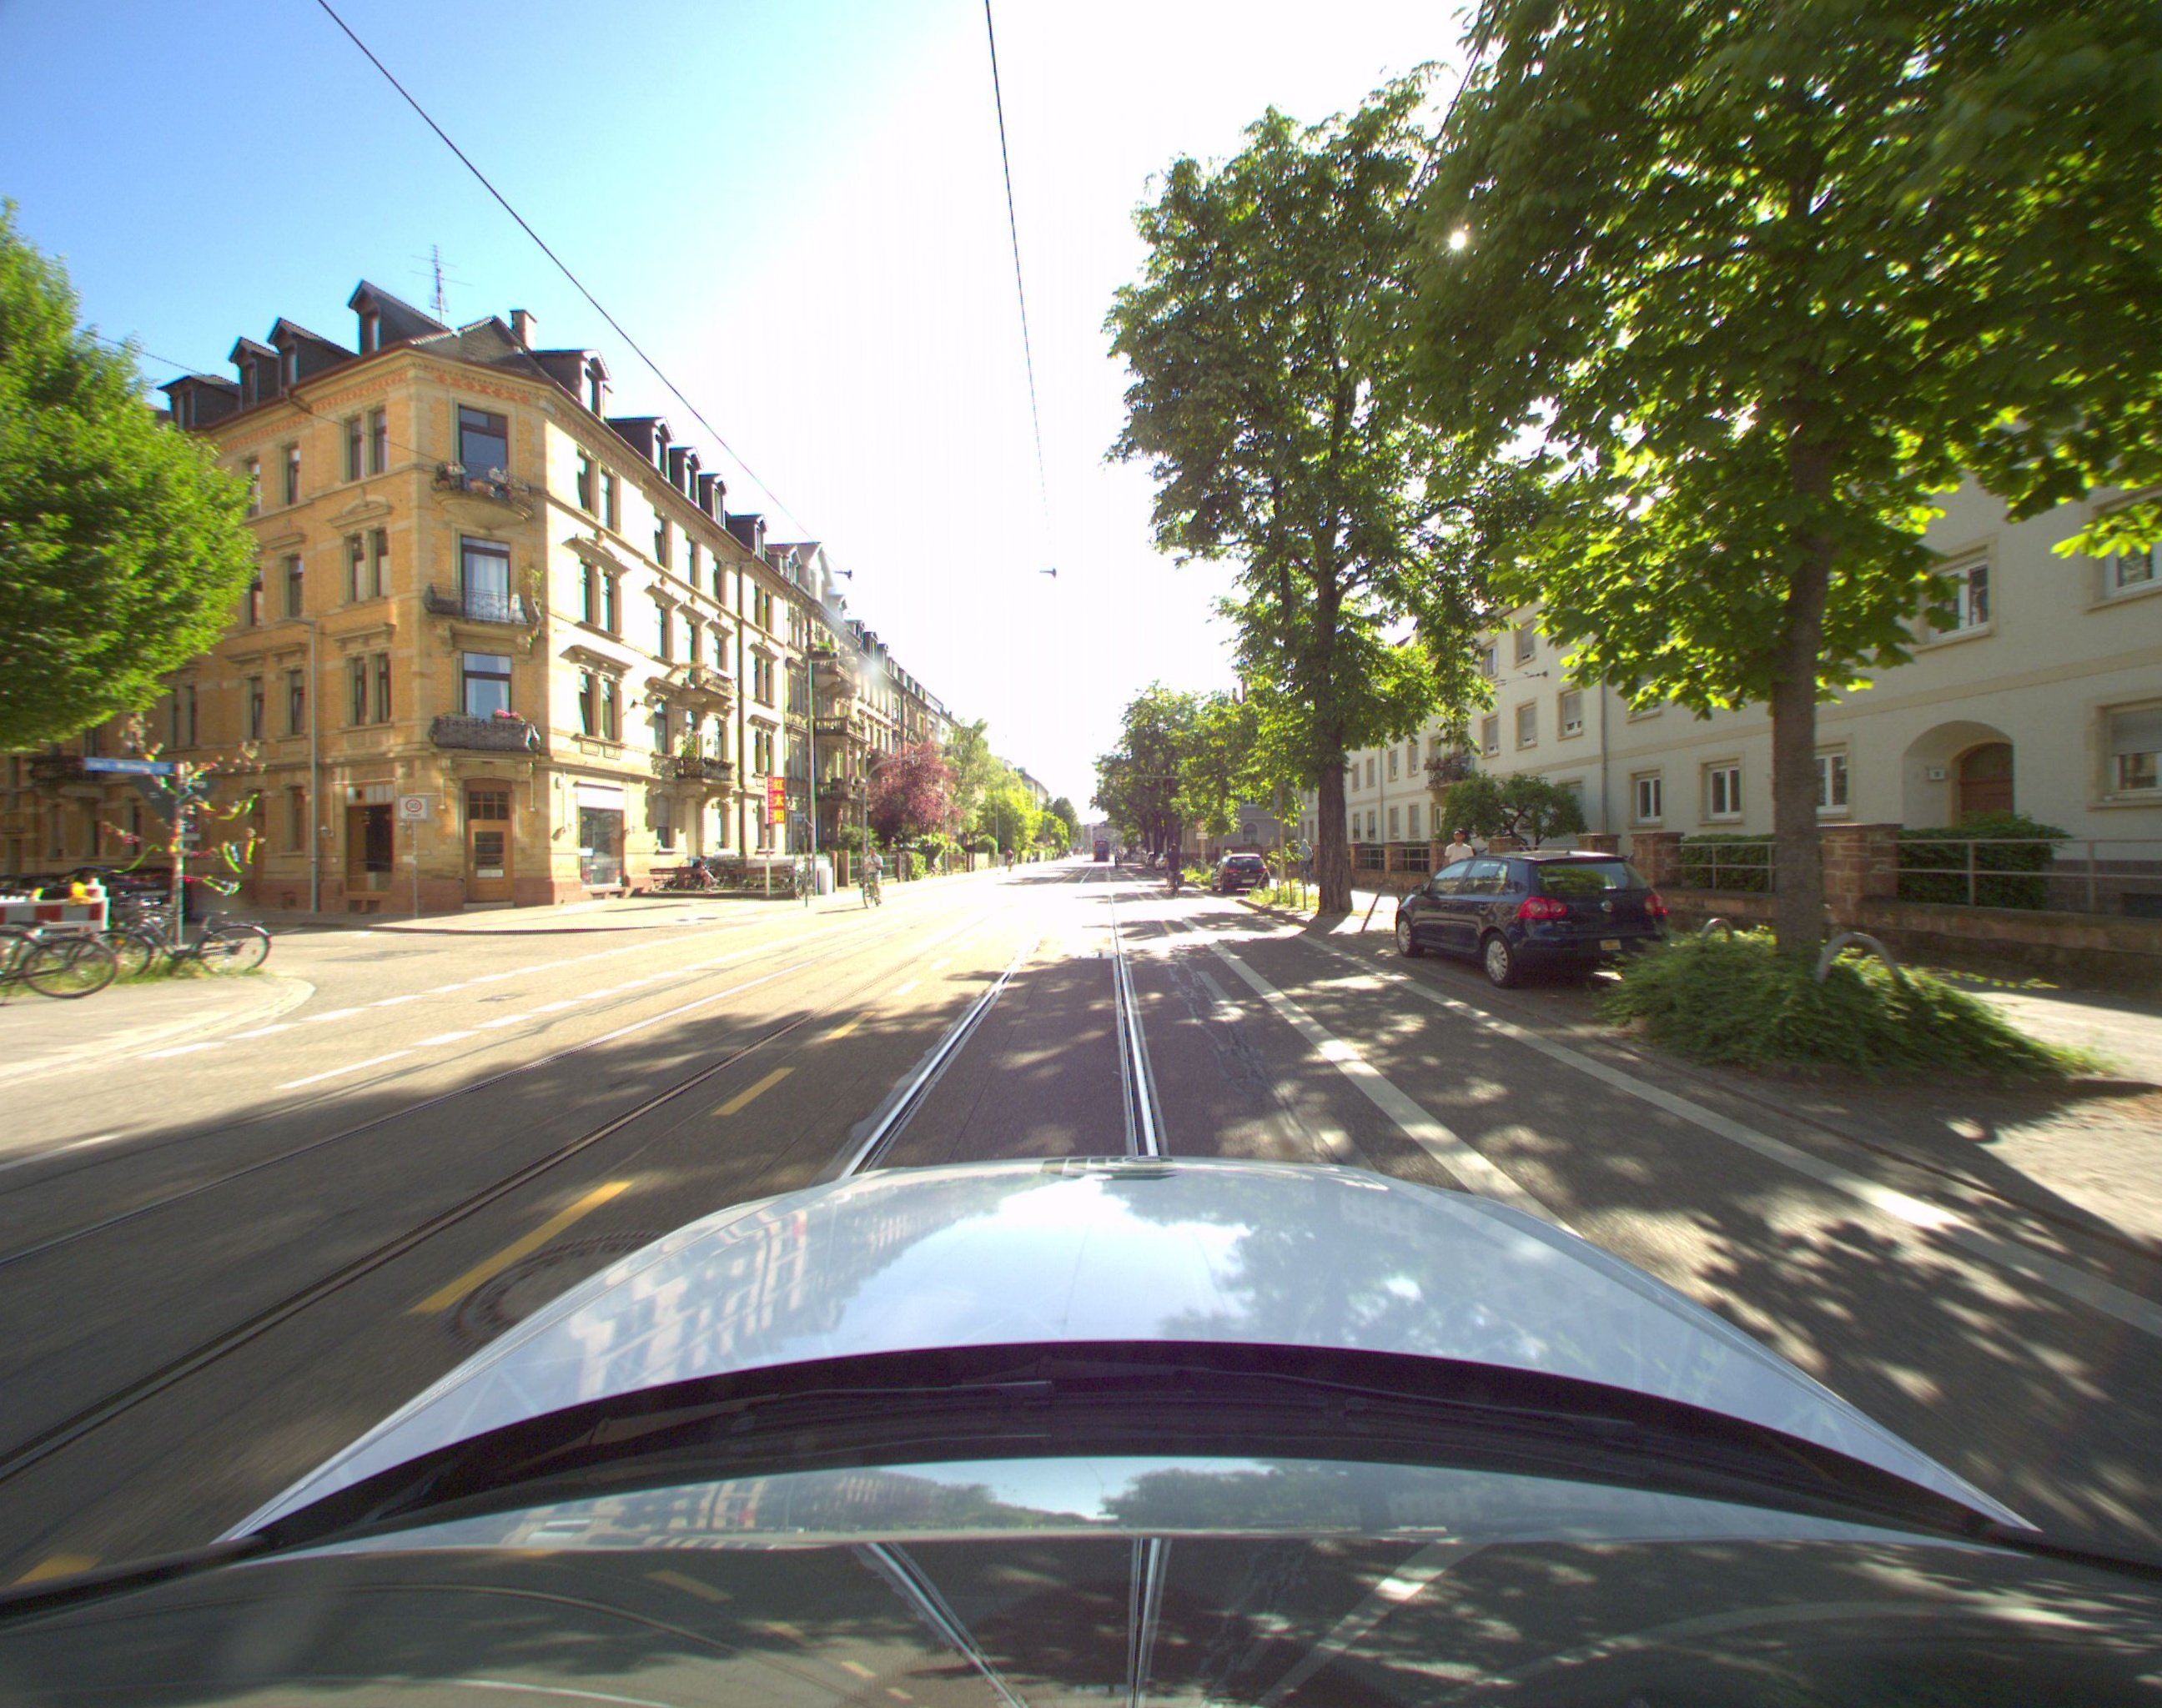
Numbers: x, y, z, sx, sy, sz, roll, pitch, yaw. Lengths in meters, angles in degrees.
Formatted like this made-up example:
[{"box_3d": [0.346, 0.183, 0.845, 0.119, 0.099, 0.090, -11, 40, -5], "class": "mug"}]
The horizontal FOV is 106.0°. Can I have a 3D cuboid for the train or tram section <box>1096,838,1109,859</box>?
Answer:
[{"box_3d": [3.604, -0.888, 136.772, 2.146, 3.431, 6.613, 1, 0, 1], "class": "train or tram section"}]

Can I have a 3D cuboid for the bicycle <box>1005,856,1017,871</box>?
[{"box_3d": [-5.565, 0.754, 64.652, 0.689, 1.112, 1.719, -2, 0, 2], "class": "bicycle"}]

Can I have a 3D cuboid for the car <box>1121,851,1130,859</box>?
[{"box_3d": [9.237, 0.137, 167.842, 1.748, 1.552, 3.678, 0, 0, 1], "class": "car"}]

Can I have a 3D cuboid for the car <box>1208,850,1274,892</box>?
[{"box_3d": [5.982, 0.595, 30.801, 1.780, 1.464, 4.046, -1, 0, 1], "class": "car"}]

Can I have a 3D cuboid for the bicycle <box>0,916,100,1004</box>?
[{"box_3d": [-12.083, 1.189, 9.093, 1.300, 0.914, 0.614, 1, -2, -34], "class": "bicycle"}]

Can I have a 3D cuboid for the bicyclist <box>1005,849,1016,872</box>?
[{"box_3d": [-5.581, 0.494, 64.487, 0.658, 1.801, 0.616, -3, -1, 1], "class": "bicyclist"}]

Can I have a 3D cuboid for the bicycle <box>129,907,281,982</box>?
[{"box_3d": [-11.987, 1.211, 11.198, 1.300, 0.914, 0.614, 1, -2, -34], "class": "bicycle"}]

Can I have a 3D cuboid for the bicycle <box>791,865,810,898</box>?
[{"box_3d": [-9.860, 0.972, 28.661, 0.369, 1.126, 0.809, 1, 0, 2], "class": "bicycle"}]

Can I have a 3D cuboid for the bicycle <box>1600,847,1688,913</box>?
[{"box_3d": [11.068, 0.488, 16.089, 0.541, 1.220, 1.742, -2, 0, 1], "class": "bicycle"}]

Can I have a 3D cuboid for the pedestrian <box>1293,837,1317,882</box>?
[{"box_3d": [8.803, 0.204, 31.989, 0.755, 1.724, 0.583, 1, 0, 30], "class": "pedestrian"}]

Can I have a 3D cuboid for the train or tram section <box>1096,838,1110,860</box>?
[{"box_3d": [3.454, -0.848, 130.102, 2.146, 3.431, 6.613, 1, 0, 1], "class": "train or tram section"}]

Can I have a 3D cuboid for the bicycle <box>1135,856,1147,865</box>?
[{"box_3d": [6.612, 0.728, 89.695, 1.262, 1.024, 0.706, 1, -1, 9], "class": "bicycle"}]

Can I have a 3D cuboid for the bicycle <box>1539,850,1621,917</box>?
[{"box_3d": [9.701, 0.540, 15.916, 0.541, 1.220, 1.742, -2, 0, 1], "class": "bicycle"}]

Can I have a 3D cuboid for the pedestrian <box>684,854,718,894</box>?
[{"box_3d": [-13.495, 0.708, 28.929, 0.897, 1.352, 0.577, -2, 0, 3], "class": "pedestrian"}]

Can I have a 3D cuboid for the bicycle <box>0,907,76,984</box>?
[{"box_3d": [-13.580, 1.145, 10.146, 0.613, 0.914, 1.303, -2, -2, 39], "class": "bicycle"}]

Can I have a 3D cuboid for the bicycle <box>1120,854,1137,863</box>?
[{"box_3d": [6.522, 0.637, 111.930, 2.123, 1.171, 0.806, 1, 0, 16], "class": "bicycle"}]

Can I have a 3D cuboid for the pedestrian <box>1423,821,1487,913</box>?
[{"box_3d": [7.475, 0.251, 16.312, 0.602, 1.771, 0.904, -3, 0, -29], "class": "pedestrian"}]

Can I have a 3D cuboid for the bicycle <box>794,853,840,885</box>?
[{"box_3d": [-11.078, 0.632, 34.215, 1.761, 1.320, 0.612, 1, 0, -8], "class": "bicycle"}]

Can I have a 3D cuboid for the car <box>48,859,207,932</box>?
[{"box_3d": [-26.687, 1.086, 22.809, 3.547, 1.749, 1.850, 1, 3, 24], "class": "car"}]

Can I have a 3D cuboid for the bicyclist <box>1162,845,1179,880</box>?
[{"box_3d": [3.785, 0.349, 34.527, 0.633, 1.468, 0.616, 1, 0, 1], "class": "bicyclist"}]

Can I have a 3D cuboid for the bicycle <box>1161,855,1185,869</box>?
[{"box_3d": [7.160, 0.602, 63.652, 1.786, 1.019, 0.620, -3, 0, 0], "class": "bicycle"}]

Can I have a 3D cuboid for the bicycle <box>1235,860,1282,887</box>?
[{"box_3d": [7.404, 0.803, 34.013, 1.789, 1.067, 0.620, -2, 0, -4], "class": "bicycle"}]

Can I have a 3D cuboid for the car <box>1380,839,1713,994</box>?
[{"box_3d": [5.371, 0.609, 10.156, 1.714, 1.473, 4.246, -2, 0, 0], "class": "car"}]

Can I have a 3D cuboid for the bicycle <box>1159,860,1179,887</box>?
[{"box_3d": [3.722, 0.810, 34.414, 0.689, 1.112, 1.918, 1, 0, 2], "class": "bicycle"}]

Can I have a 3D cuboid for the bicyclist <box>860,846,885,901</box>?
[{"box_3d": [-6.299, 0.590, 24.582, 0.462, 1.618, 0.745, -3, 0, 2], "class": "bicyclist"}]

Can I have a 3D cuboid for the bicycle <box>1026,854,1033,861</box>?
[{"box_3d": [-7.296, 0.511, 116.059, 0.634, 1.069, 1.822, 1, 0, -15], "class": "bicycle"}]

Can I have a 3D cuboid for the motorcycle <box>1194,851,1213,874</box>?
[{"box_3d": [6.807, 0.463, 45.378, 0.494, 1.190, 1.858, -4, 1, -6], "class": "motorcycle"}]

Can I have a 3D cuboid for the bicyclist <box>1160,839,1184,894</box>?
[{"box_3d": [3.118, 0.409, 27.905, 0.725, 1.848, 0.837, 1, 0, 1], "class": "bicyclist"}]

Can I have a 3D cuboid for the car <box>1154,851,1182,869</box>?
[{"box_3d": [7.091, 0.466, 66.482, 1.624, 1.436, 4.662, -1, 0, -2], "class": "car"}]

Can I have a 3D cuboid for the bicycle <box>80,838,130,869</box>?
[{"box_3d": [-35.766, -0.009, 29.844, 2.107, 1.126, 0.559, 0, 0, 23], "class": "bicycle"}]

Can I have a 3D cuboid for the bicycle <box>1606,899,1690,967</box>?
[{"box_3d": [11.689, 1.596, 16.856, 0.541, 1.220, 1.742, -2, 0, 1], "class": "bicycle"}]

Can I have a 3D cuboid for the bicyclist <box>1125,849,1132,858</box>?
[{"box_3d": [6.529, -0.036, 111.822, 0.766, 1.291, 0.736, 1, 0, 17], "class": "bicyclist"}]

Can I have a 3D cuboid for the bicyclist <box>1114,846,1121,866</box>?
[{"box_3d": [3.289, 0.191, 73.248, 0.643, 1.796, 0.956, 1, 0, 1], "class": "bicyclist"}]

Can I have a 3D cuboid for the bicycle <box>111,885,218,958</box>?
[{"box_3d": [-13.901, 0.983, 12.414, 0.582, 0.976, 1.967, 1, -1, -33], "class": "bicycle"}]

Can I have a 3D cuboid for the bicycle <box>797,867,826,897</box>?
[{"box_3d": [-9.635, 0.983, 29.177, 0.334, 1.001, 1.870, 1, 0, 2], "class": "bicycle"}]

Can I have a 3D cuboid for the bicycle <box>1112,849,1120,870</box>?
[{"box_3d": [3.187, 0.491, 73.658, 0.660, 1.859, 2.261, 1, 0, 3], "class": "bicycle"}]

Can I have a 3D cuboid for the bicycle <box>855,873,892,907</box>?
[{"box_3d": [-6.268, 1.073, 24.700, 0.458, 0.926, 2.203, -2, 0, 2], "class": "bicycle"}]

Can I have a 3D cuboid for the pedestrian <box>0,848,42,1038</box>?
[{"box_3d": [-10.205, 0.798, 7.098, 0.827, 1.724, 1.081, 1, -1, -3], "class": "pedestrian"}]

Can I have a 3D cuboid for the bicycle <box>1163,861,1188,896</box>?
[{"box_3d": [3.230, 0.818, 27.837, 0.689, 1.112, 1.719, 1, 0, 2], "class": "bicycle"}]

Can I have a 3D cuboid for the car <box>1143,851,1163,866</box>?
[{"box_3d": [7.444, 0.463, 84.814, 1.742, 1.420, 4.001, -2, 0, 1], "class": "car"}]
